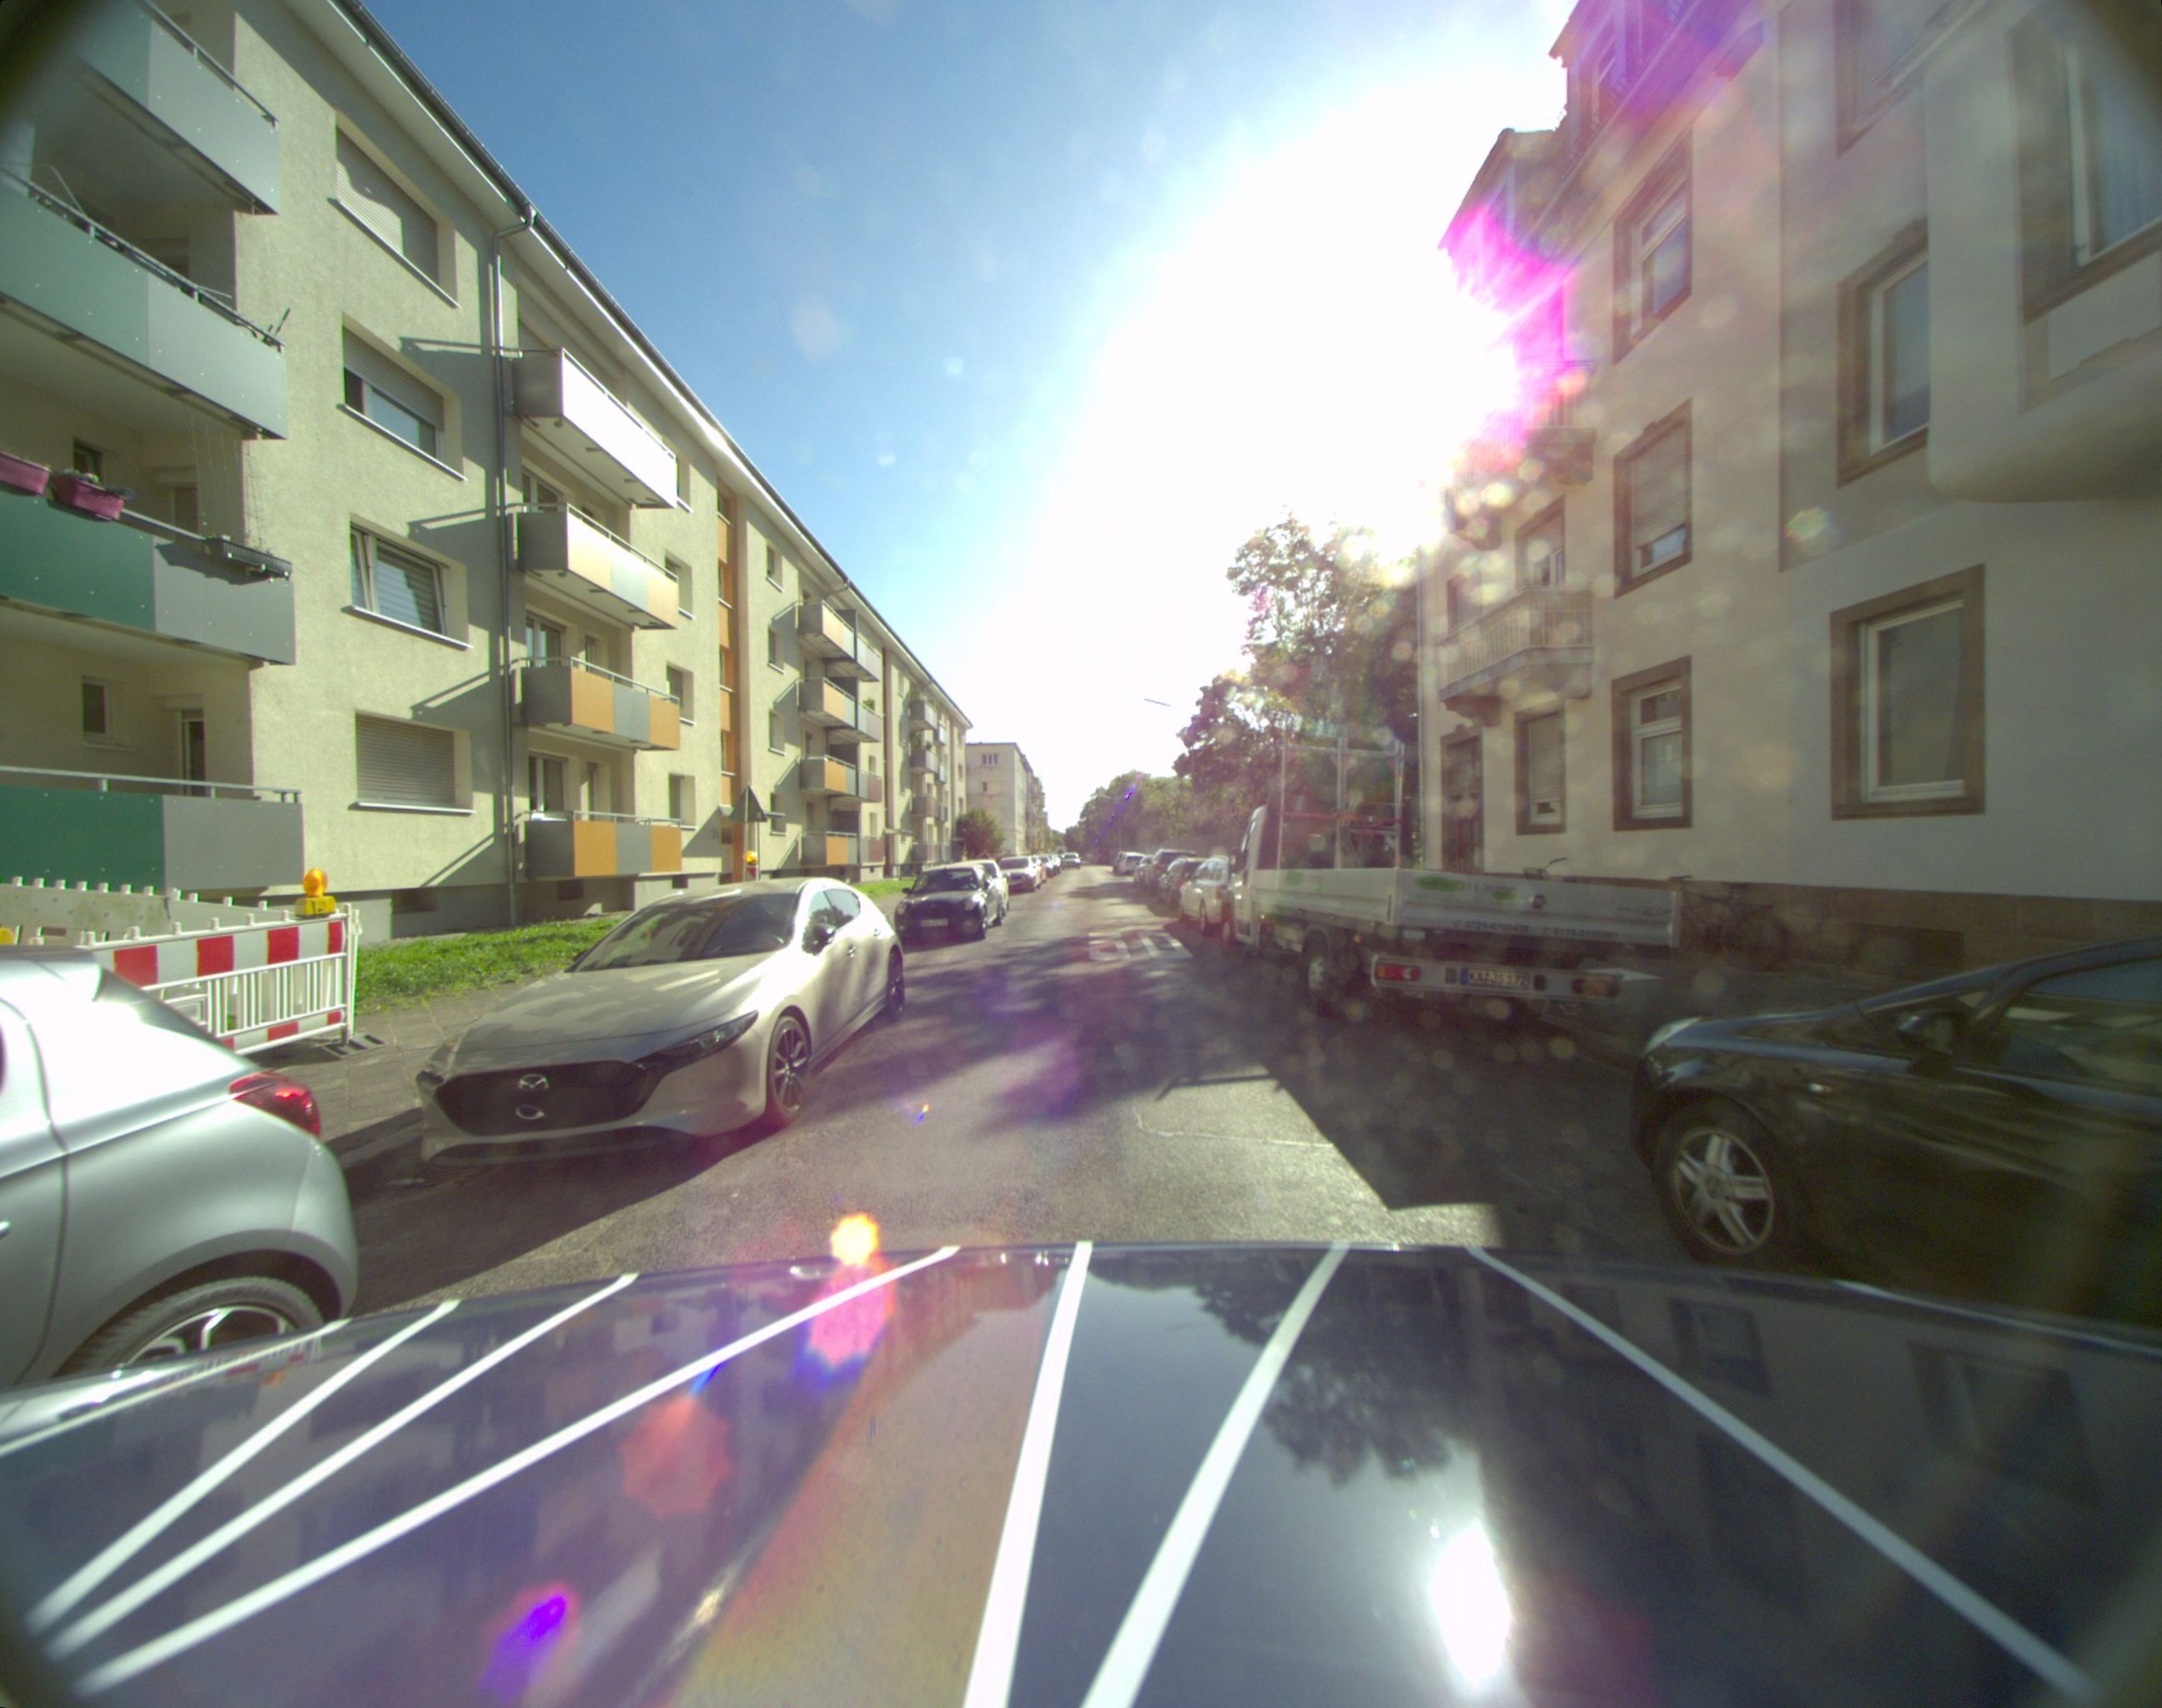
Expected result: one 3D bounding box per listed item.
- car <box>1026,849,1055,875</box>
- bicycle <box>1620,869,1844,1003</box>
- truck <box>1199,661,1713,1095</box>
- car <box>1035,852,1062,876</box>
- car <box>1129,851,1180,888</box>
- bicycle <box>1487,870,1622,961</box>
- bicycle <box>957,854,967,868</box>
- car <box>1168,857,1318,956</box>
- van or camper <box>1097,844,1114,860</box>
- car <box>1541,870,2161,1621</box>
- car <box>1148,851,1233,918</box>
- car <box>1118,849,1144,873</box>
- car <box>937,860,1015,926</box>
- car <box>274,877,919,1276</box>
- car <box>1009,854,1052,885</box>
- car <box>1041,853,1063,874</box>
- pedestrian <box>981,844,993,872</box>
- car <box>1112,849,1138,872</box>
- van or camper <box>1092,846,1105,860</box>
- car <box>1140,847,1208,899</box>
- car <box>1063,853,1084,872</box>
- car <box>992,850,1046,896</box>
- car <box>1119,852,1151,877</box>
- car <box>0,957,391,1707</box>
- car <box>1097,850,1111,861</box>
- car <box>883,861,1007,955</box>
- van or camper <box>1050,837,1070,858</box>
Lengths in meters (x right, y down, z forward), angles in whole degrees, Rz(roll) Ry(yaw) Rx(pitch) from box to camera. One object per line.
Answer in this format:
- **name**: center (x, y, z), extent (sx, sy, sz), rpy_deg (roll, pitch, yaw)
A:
- **car**: center (-2.530, 0.484, 48.297), extent (1.757, 1.472, 4.078), rpy_deg (-1, 1, -2)
- **bicycle**: center (7.278, 0.839, 8.700), extent (0.571, 1.272, 2.340), rpy_deg (0, 0, 0)
- **truck**: center (3.139, 0.085, 8.855), extent (2.265, 2.969, 7.273), rpy_deg (0, 1, -1)
- **car**: center (-2.293, 0.656, 54.117), extent (1.757, 1.550, 4.253), rpy_deg (-1, 1, -2)
- **car**: center (3.259, 0.657, 34.472), extent (1.799, 1.462, 4.500), rpy_deg (2, 1, -1)
- **bicycle**: center (7.145, 0.872, 11.627), extent (0.631, 1.197, 2.340), rpy_deg (0, 0, 0)
- **bicycle**: center (-9.054, 0.512, 57.732), extent (0.486, 0.955, 2.282), rpy_deg (0, 1, -3)
- **car**: center (3.064, 0.912, 15.393), extent (1.797, 1.532, 4.640), rpy_deg (5, 0, -2)
- **van or camper**: center (3.561, -0.329, 111.571), extent (2.212, 2.268, 5.308), rpy_deg (-1, 1, -2)
- **car**: center (3.024, 0.880, 1.425), extent (1.650, 1.408, 4.079), rpy_deg (4, 1, -2)
- **car**: center (2.962, 0.771, 21.400), extent (1.796, 1.554, 4.458), rpy_deg (-1, 1, 1)
- **car**: center (3.695, 0.481, 56.478), extent (1.568, 1.634, 3.614), rpy_deg (3, 1, -1)
- **car**: center (-2.731, 0.967, 20.477), extent (1.690, 1.454, 3.818), rpy_deg (-1, 1, -3)
- **car**: center (-2.649, 1.084, 5.607), extent (1.796, 1.462, 4.338), rpy_deg (-4, 1, 1)
- **car**: center (-2.550, 0.752, 39.138), extent (1.756, 1.436, 4.522), rpy_deg (-1, 1, 2)
- **car**: center (-2.266, 0.709, 59.446), extent (1.609, 1.476, 3.796), rpy_deg (-1, 1, -1)
- **pedestrian**: center (-6.055, 0.264, 48.819), extent (0.647, 1.761, 0.841), rpy_deg (-1, 2, 1)
- **car**: center (3.484, 0.468, 61.241), extent (1.717, 1.654, 4.163), rpy_deg (3, 1, -1)
- **van or camper**: center (3.218, -0.138, 142.393), extent (2.126, 2.484, 3.998), rpy_deg (-1, 1, -2)
- **car**: center (3.308, 0.615, 27.971), extent (1.883, 1.654, 4.930), rpy_deg (1, 1, 0)
- **car**: center (-0.771, 0.807, 75.709), extent (1.862, 1.543, 3.997), rpy_deg (-3, 3, -2)
- **car**: center (-2.508, 0.722, 31.751), extent (1.903, 1.613, 4.601), rpy_deg (-3, 1, -1)
- **car**: center (3.574, 0.670, 50.659), extent (1.798, 1.436, 4.119), rpy_deg (1, 1, 0)
- **car**: center (-2.782, 1.076, 0.118), extent (1.649, 1.452, 3.938), rpy_deg (-1, 2, 1)
- **car**: center (3.161, 0.196, 105.671), extent (1.652, 1.409, 3.998), rpy_deg (-1, 1, -2)
- **car**: center (-2.613, 0.981, 15.409), extent (1.692, 1.458, 3.582), rpy_deg (-4, 1, 1)
- **van or camper**: center (-3.263, -1.046, 119.735), extent (2.958, 3.161, 6.172), rpy_deg (1, 0, -1)
